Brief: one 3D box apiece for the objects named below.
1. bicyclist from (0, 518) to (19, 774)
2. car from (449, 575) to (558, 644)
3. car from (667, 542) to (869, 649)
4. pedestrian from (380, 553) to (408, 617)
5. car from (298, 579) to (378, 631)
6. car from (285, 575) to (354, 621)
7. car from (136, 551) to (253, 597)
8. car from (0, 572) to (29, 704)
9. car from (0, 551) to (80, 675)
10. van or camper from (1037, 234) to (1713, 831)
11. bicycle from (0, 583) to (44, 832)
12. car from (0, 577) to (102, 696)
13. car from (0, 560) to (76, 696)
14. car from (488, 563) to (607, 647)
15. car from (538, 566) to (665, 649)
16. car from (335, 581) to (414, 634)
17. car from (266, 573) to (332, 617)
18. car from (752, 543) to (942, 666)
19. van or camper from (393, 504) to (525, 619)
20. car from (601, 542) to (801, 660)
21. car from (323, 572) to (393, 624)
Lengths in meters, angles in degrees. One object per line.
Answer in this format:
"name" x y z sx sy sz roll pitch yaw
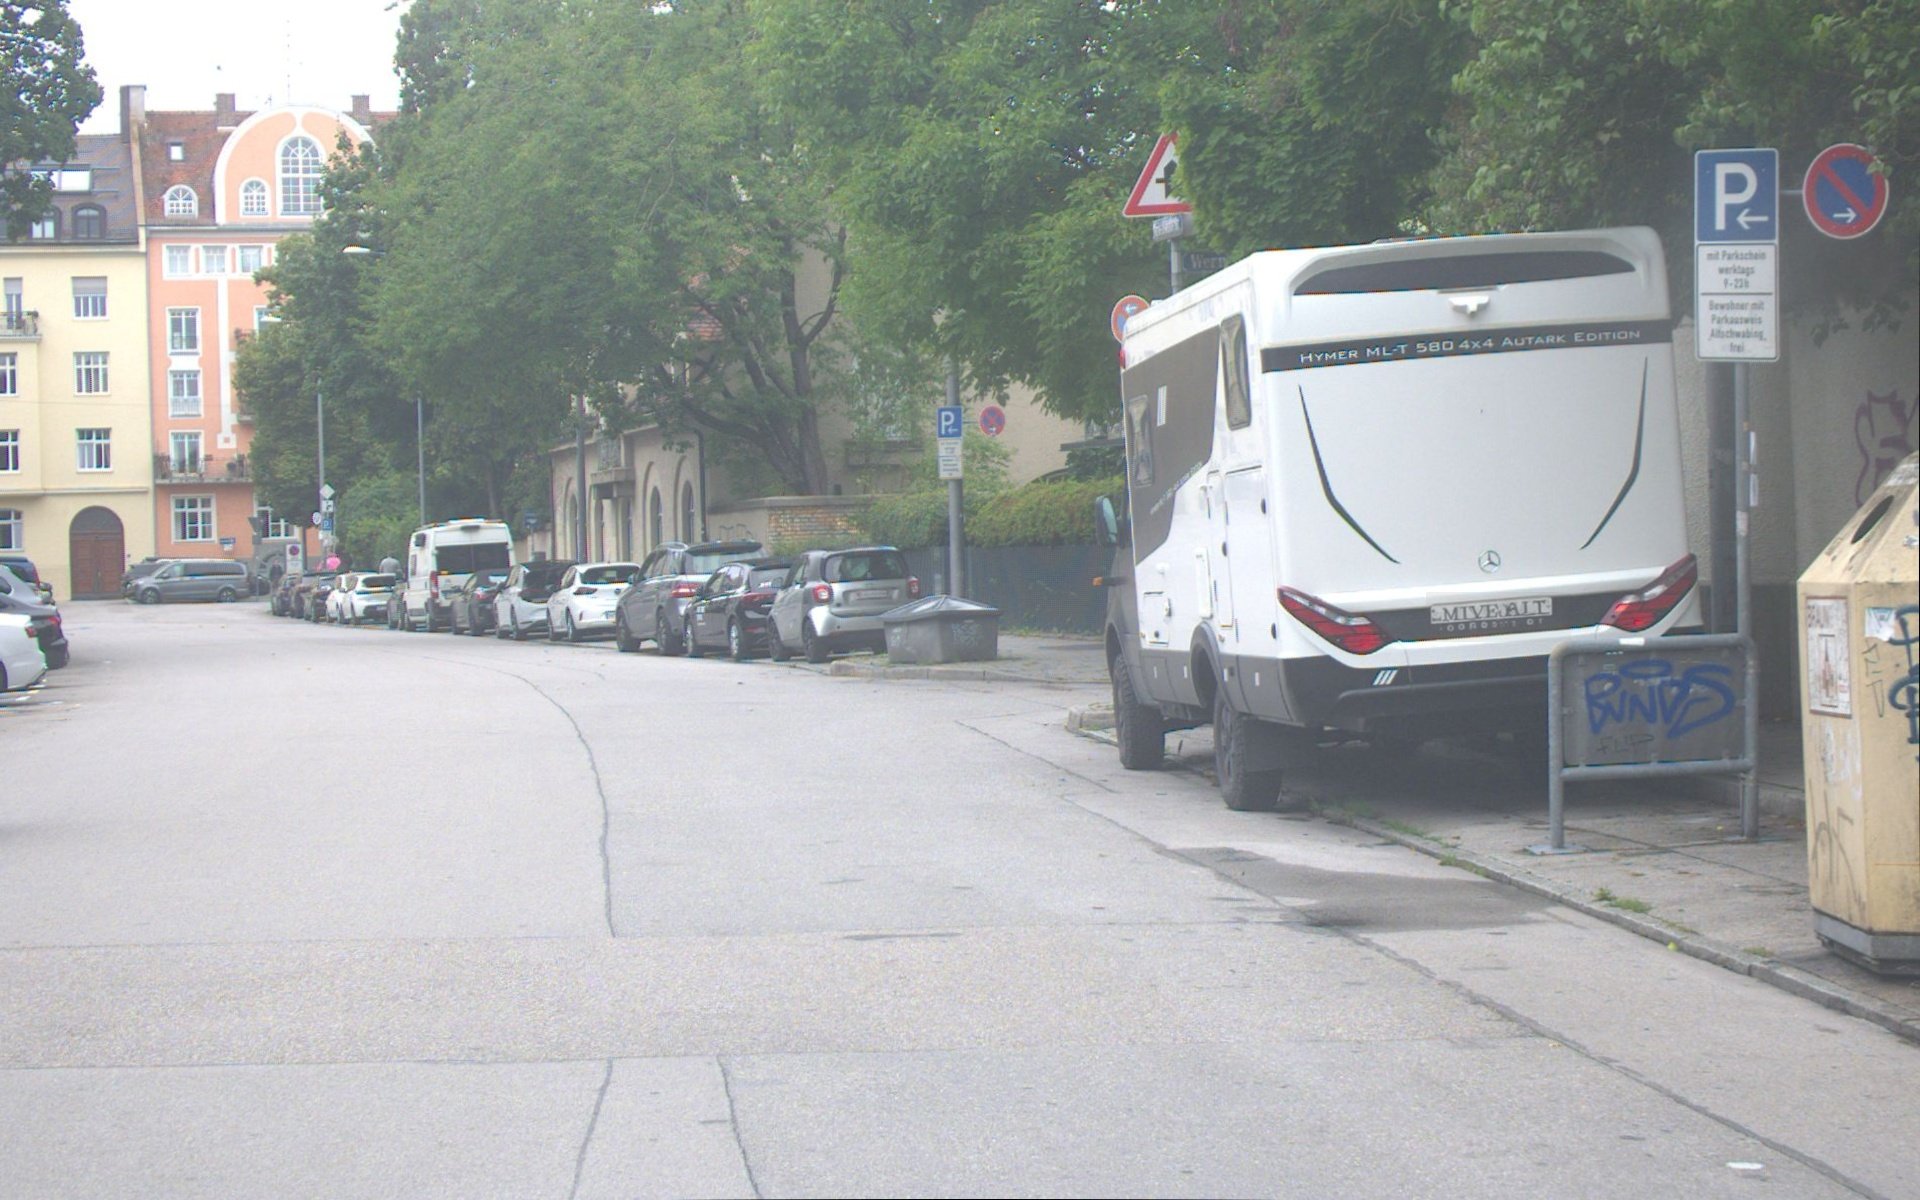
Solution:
"bicyclist" -5.424 0.250 18.103 0.696 1.347 0.930 -2 1 -4
"car" -9.964 0.191 74.824 1.707 1.364 4.442 -3 1 -15
"car" -2.877 -0.070 50.661 1.876 1.422 4.223 -3 1 -18
"pedestrian" -18.041 -0.472 109.612 0.772 2.007 0.563 -1 0 -17
"car" -19.549 0.138 107.938 1.802 1.461 3.839 -3 2 -19
"car" -21.096 -0.092 113.150 1.669 1.339 3.839 -3 2 -18
"car" -32.593 -1.112 146.417 4.702 1.874 1.841 -1 0 -17
"car" -13.169 0.590 39.084 4.504 1.504 1.931 -5 2 -39
"car" -14.758 0.240 47.800 2.135 1.693 4.402 -2 0 42
"van or camper" 2.150 -0.382 20.623 2.272 2.896 7.278 -2 1 -7
"bicycle" -5.416 0.578 18.136 0.706 1.301 2.119 -2 1 -4
"car" -13.052 0.501 42.375 1.964 1.434 4.401 -2 0 44
"car" -12.047 0.378 36.974 4.504 1.446 1.896 -3 1 -40
"car" -8.347 0.091 69.258 1.707 1.532 4.241 -4 1 -15
"car" -6.744 0.139 64.366 1.685 1.436 4.001 -2 0 -15
"car" -16.896 0.215 99.087 1.707 1.403 4.131 -3 1 -17
"car" -22.672 -0.184 117.822 1.669 1.339 3.839 -3 2 -18
"car" -1.567 0.076 46.727 1.738 1.531 2.947 -3 0 -18
"van or camper" -11.907 -0.890 81.412 2.191 2.541 5.730 -3 1 -16
"car" -4.213 0.011 55.111 1.993 1.705 4.886 -3 1 -18
"car" -18.209 -0.056 103.853 1.707 1.461 3.838 -3 1 -15
